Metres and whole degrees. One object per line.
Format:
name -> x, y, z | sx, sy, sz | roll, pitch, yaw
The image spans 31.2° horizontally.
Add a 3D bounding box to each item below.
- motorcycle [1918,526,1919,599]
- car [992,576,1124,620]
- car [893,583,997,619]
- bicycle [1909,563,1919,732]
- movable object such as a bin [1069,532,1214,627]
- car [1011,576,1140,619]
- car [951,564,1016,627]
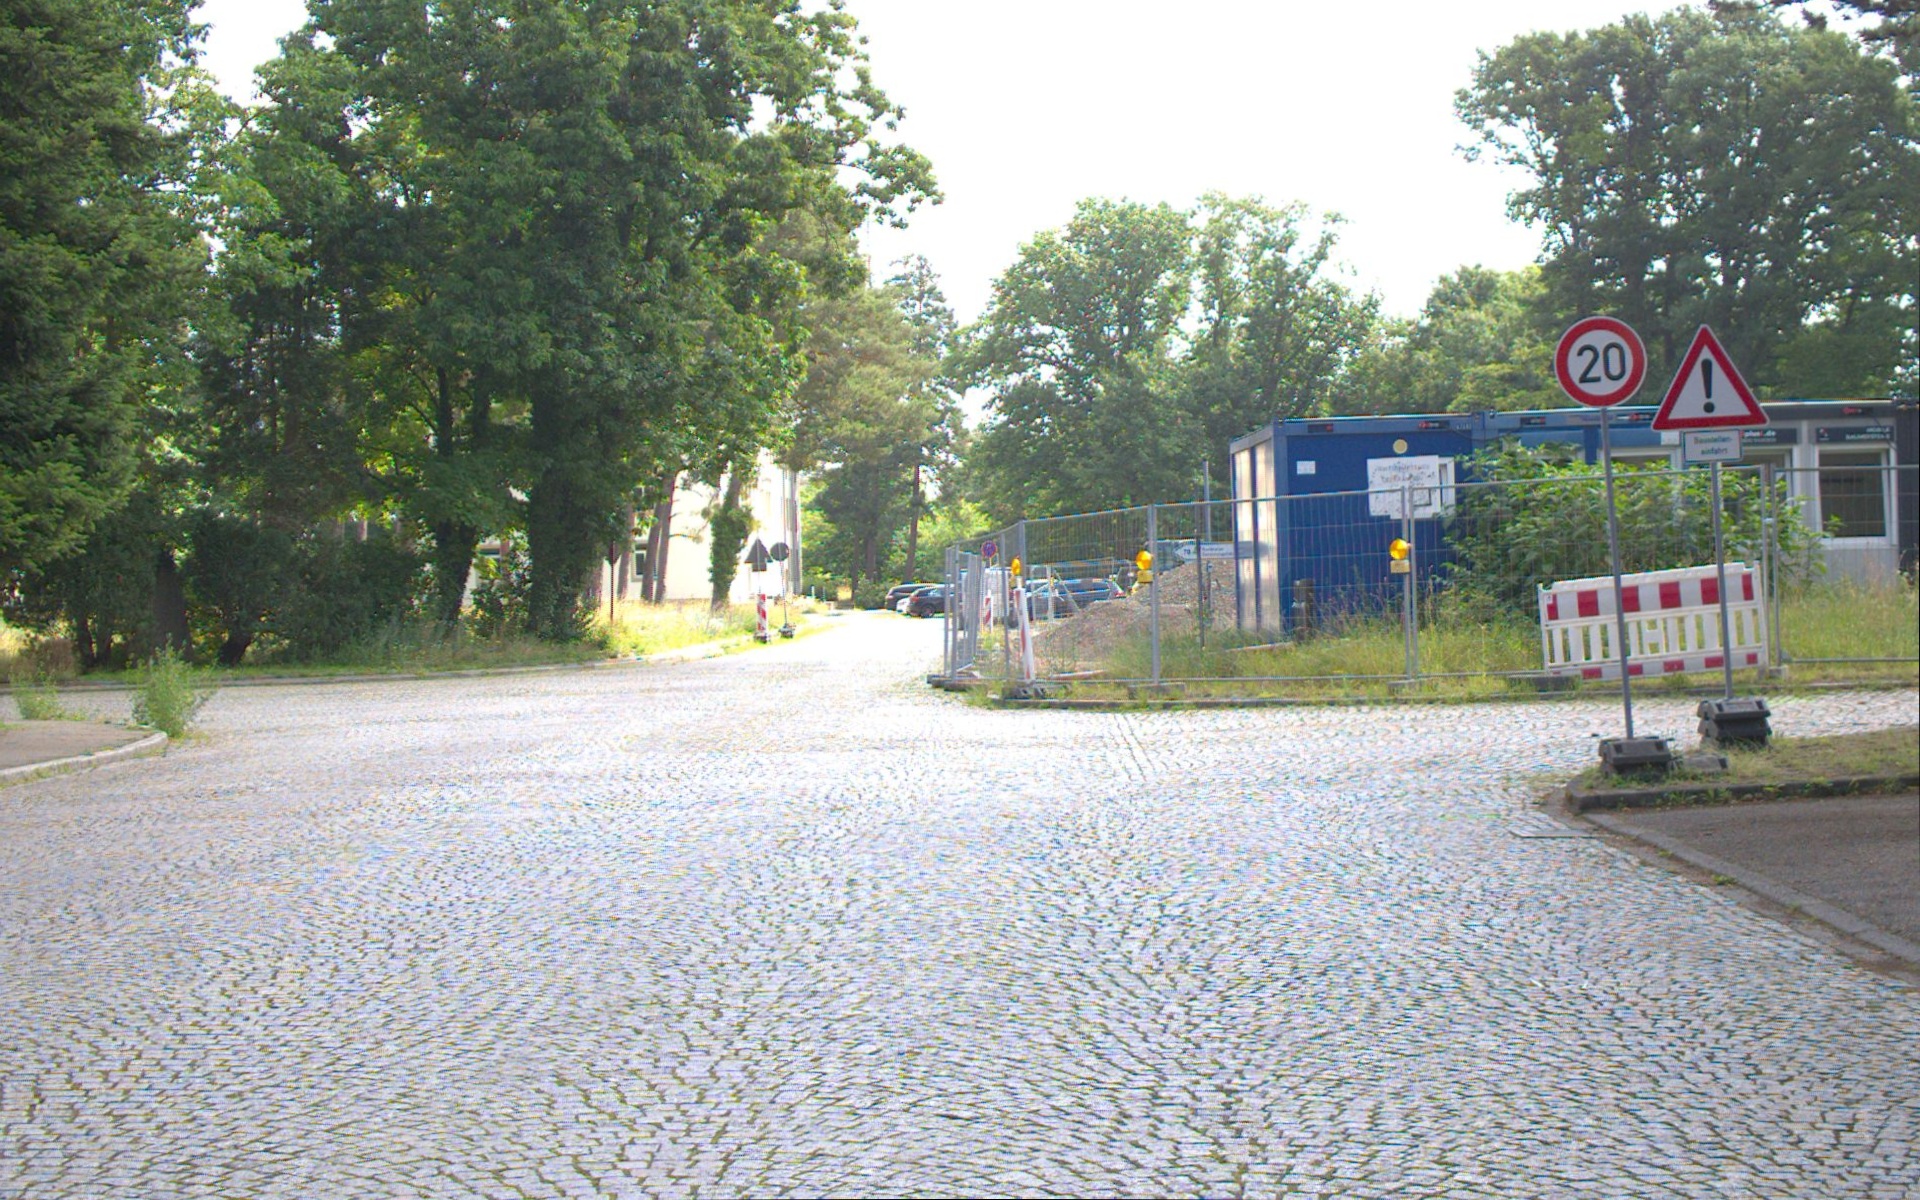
motorcycle -> 7.394, 0.219, 21.990 | 2.276, 1.480, 0.757 | -2, 0, -4
car -> 3.426, -0.083, 120.132 | 4.404, 1.505, 1.999 | 0, 0, 9
car -> -0.729, 0.053, 162.818 | 4.779, 1.635, 2.000 | -1, 0, -5
bicycle -> 7.759, 0.306, 24.387 | 1.900, 1.193, 0.655 | -2, 0, 20
movable object such as a bin -> 5.125, -0.586, 96.482 | 2.132, 2.584, 4.783 | -1, 0, 30
car -> 4.131, -0.089, 122.790 | 4.404, 1.505, 1.999 | 0, 0, 9
car -> 0.761, -0.157, 113.246 | 1.993, 2.007, 4.091 | -1, 0, -1
